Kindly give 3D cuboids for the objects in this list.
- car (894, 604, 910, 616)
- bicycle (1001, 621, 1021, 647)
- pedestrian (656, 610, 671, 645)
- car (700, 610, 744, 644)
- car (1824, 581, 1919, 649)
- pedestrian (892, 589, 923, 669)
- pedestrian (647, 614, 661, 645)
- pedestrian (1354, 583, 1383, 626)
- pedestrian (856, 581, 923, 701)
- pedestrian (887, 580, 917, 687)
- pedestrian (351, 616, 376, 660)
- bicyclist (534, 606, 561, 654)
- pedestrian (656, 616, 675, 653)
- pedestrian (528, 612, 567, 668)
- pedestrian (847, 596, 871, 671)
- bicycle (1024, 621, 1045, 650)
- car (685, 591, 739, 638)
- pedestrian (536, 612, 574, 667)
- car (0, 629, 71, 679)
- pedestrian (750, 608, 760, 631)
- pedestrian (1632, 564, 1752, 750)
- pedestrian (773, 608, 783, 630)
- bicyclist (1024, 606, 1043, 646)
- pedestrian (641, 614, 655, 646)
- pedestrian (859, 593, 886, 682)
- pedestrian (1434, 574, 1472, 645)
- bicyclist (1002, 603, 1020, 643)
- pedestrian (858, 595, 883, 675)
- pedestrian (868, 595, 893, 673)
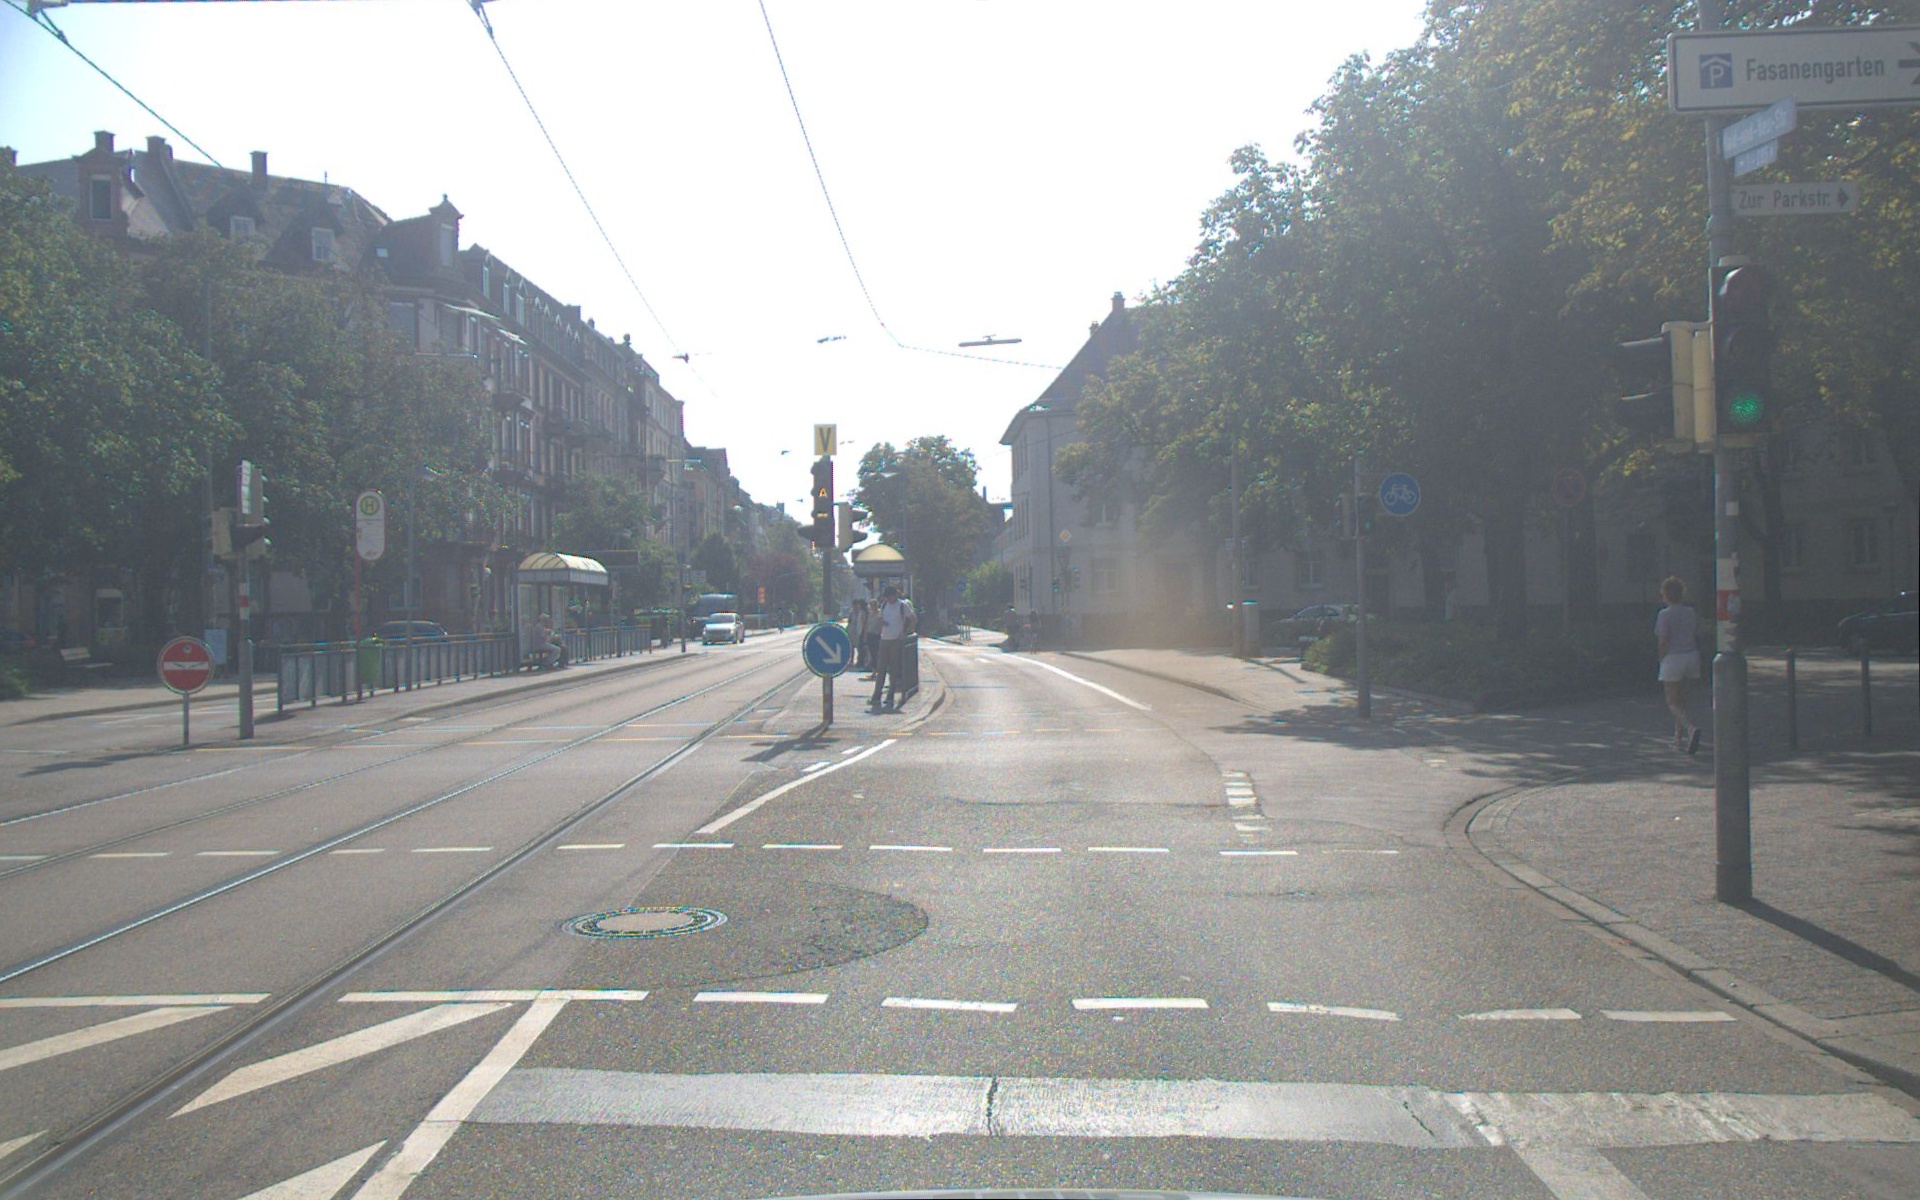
[{"bbox_3d":[-9.019,1.571,256.733,1.951,1.814,4.002,0,-1,5],"label":"car"},{"bbox_3d":[1.985,1.322,64.470,0.616,0.995,1.769,-1,0,-3],"label":"bicycle"},{"bbox_3d":[-15.002,1.400,83.720,0.736,1.761,0.769,-1,-1,-11],"label":"pedestrian"},{"bbox_3d":[-12.283,1.397,85.543,1.765,1.682,3.641,-1,0,-1],"label":"car"},{"bbox_3d":[21.273,0.308,36.096,1.832,1.443,3.965,-1,0,-27],"label":"car"},{"bbox_3d":[-1.211,0.665,38.206,0.694,1.790,0.534,1,2,-2],"label":"pedestrian"},{"bbox_3d":[-17.759,1.691,96.030,0.736,1.761,0.769,-1,-1,-11],"label":"pedestrian"},{"bbox_3d":[16.887,0.194,68.326,0.879,1.771,0.771,-2,-1,44],"label":"pedestrian"},{"bbox_3d":[-1.063,0.607,25.043,0.687,1.755,0.746,2,2,31],"label":"pedestrian"},{"bbox_3d":[-1.024,0.588,29.311,0.494,1.866,0.534,1,2,-2],"label":"pedestrian"},{"bbox_3d":[-24.656,1.568,68.352,0.764,1.761,0.741,-1,-1,-40],"label":"pedestrian"},{"bbox_3d":[-16.840,1.223,67.559,0.973,1.890,0.489,-1,-1,-23],"label":"bicyclist"},{"bbox_3d":[-14.311,1.683,80.481,0.734,1.761,0.771,-1,-1,0],"label":"pedestrian"},{"bbox_3d":[-10.312,0.998,41.397,0.812,1.382,0.775,-1,-1,-6],"label":"pedestrian"},{"bbox_3d":[-2.457,0.811,40.207,0.521,1.790,0.545,1,2,-1],"label":"pedestrian"},{"bbox_3d":[2.677,1.279,59.771,0.547,0.995,1.855,-1,0,-3],"label":"bicycle"},{"bbox_3d":[-15.034,0.887,100.683,2.298,2.708,5.106,-1,0,2],"label":"car"},{"bbox_3d":[-10.364,1.007,42.372,0.812,1.382,0.775,-1,-1,-6],"label":"pedestrian"},{"bbox_3d":[-32.755,1.847,55.989,4.231,1.596,2.001,-1,0,3],"label":"car"},{"bbox_3d":[-16.188,1.524,130.495,0.736,1.761,0.769,-1,-1,-11],"label":"pedestrian"},{"bbox_3d":[7.173,0.541,16.232,0.736,1.761,0.769,-1,-1,-11],"label":"pedestrian"},{"bbox_3d":[-14.682,1.545,133.461,0.736,1.761,0.769,-1,-1,-11],"label":"pedestrian"},{"bbox_3d":[2.662,0.929,59.787,0.547,1.441,0.871,-1,0,-3],"label":"bicyclist"},{"bbox_3d":[-17.590,1.688,93.273,0.736,1.761,0.769,-1,-1,-11],"label":"pedestrian"},{"bbox_3d":[-1.798,0.757,33.990,0.494,1.790,0.534,1,2,-2],"label":"pedestrian"},{"bbox_3d":[12.649,0.240,42.413,0.872,1.771,0.776,-1,-1,18],"label":"pedestrian"},{"bbox_3d":[1.980,0.879,64.471,0.616,1.534,0.678,-1,0,-3],"label":"bicyclist"},{"bbox_3d":[-2.051,0.798,37.992,0.532,1.790,0.534,1,2,-2],"label":"pedestrian"},{"bbox_3d":[-1.867,0.797,38.806,0.532,1.790,0.534,1,2,-2],"label":"pedestrian"}]
